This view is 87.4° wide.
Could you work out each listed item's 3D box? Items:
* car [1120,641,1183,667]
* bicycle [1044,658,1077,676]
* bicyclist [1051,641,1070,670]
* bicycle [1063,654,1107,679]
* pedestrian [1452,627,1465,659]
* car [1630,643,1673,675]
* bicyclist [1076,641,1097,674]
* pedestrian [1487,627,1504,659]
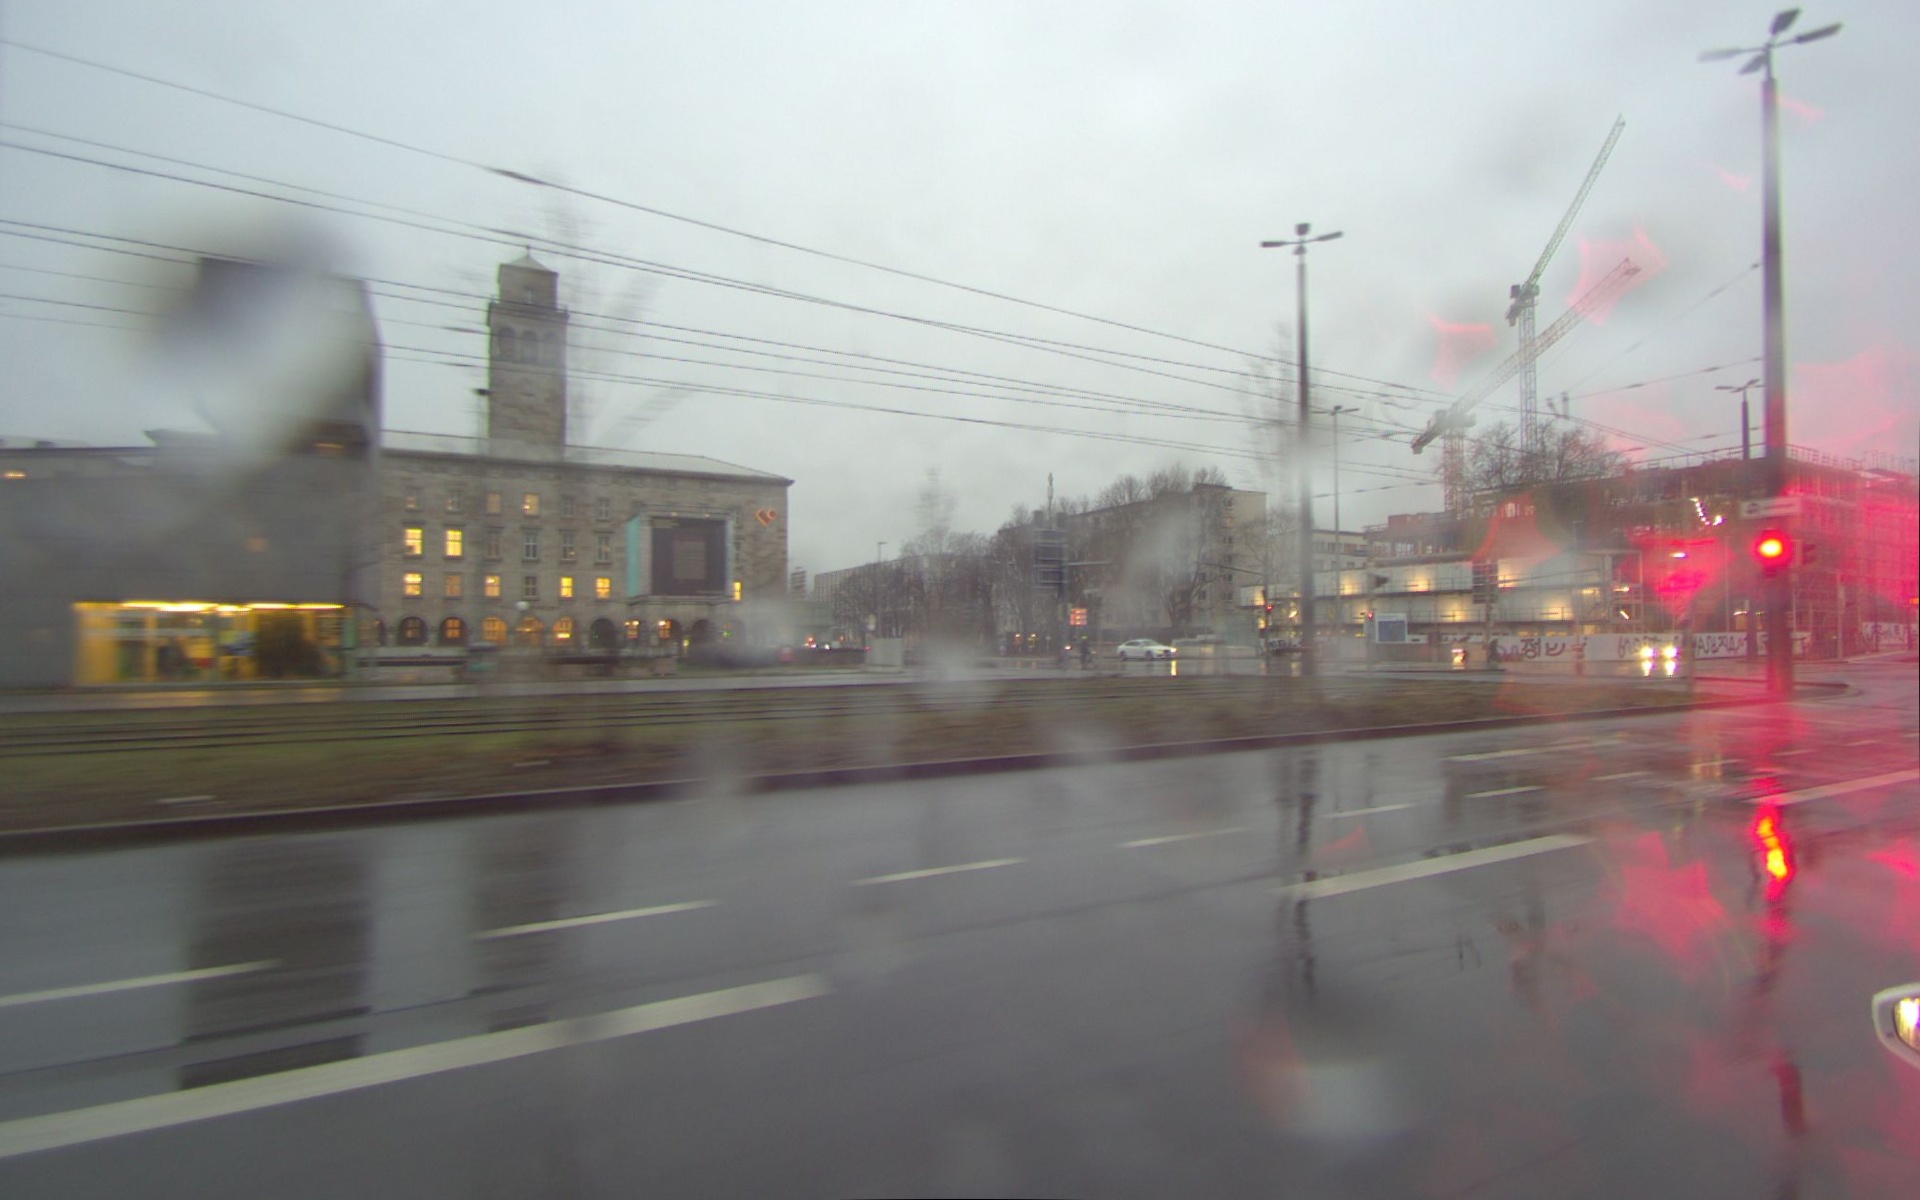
[{"bbox_3d":[12.739,3.581,66.990,1.977,1.706,3.967,1,-3,-31],"label":"car"},{"bbox_3d":[6.067,4.020,60.598,0.611,1.046,2.358,1,-3,-34],"label":"bicycle"},{"bbox_3d":[6.048,3.328,60.658,0.611,1.719,1.027,1,-3,-34],"label":"bicyclist"},{"bbox_3d":[7.075,3.749,57.039,0.714,1.380,2.811,2,-4,-37],"label":"bicycle"},{"bbox_3d":[32.704,2.798,65.852,0.635,2.039,0.503,6,-7,-38],"label":"pedestrian"},{"bbox_3d":[45.478,3.856,66.014,1.737,2.040,3.978,-2,-3,43],"label":"car"},{"bbox_3d":[7.164,3.259,56.855,0.714,1.863,0.986,2,-3,-37],"label":"bicyclist"},{"bbox_3d":[35.101,2.839,65.830,0.741,2.039,0.786,5,-4,-37],"label":"pedestrian"}]
